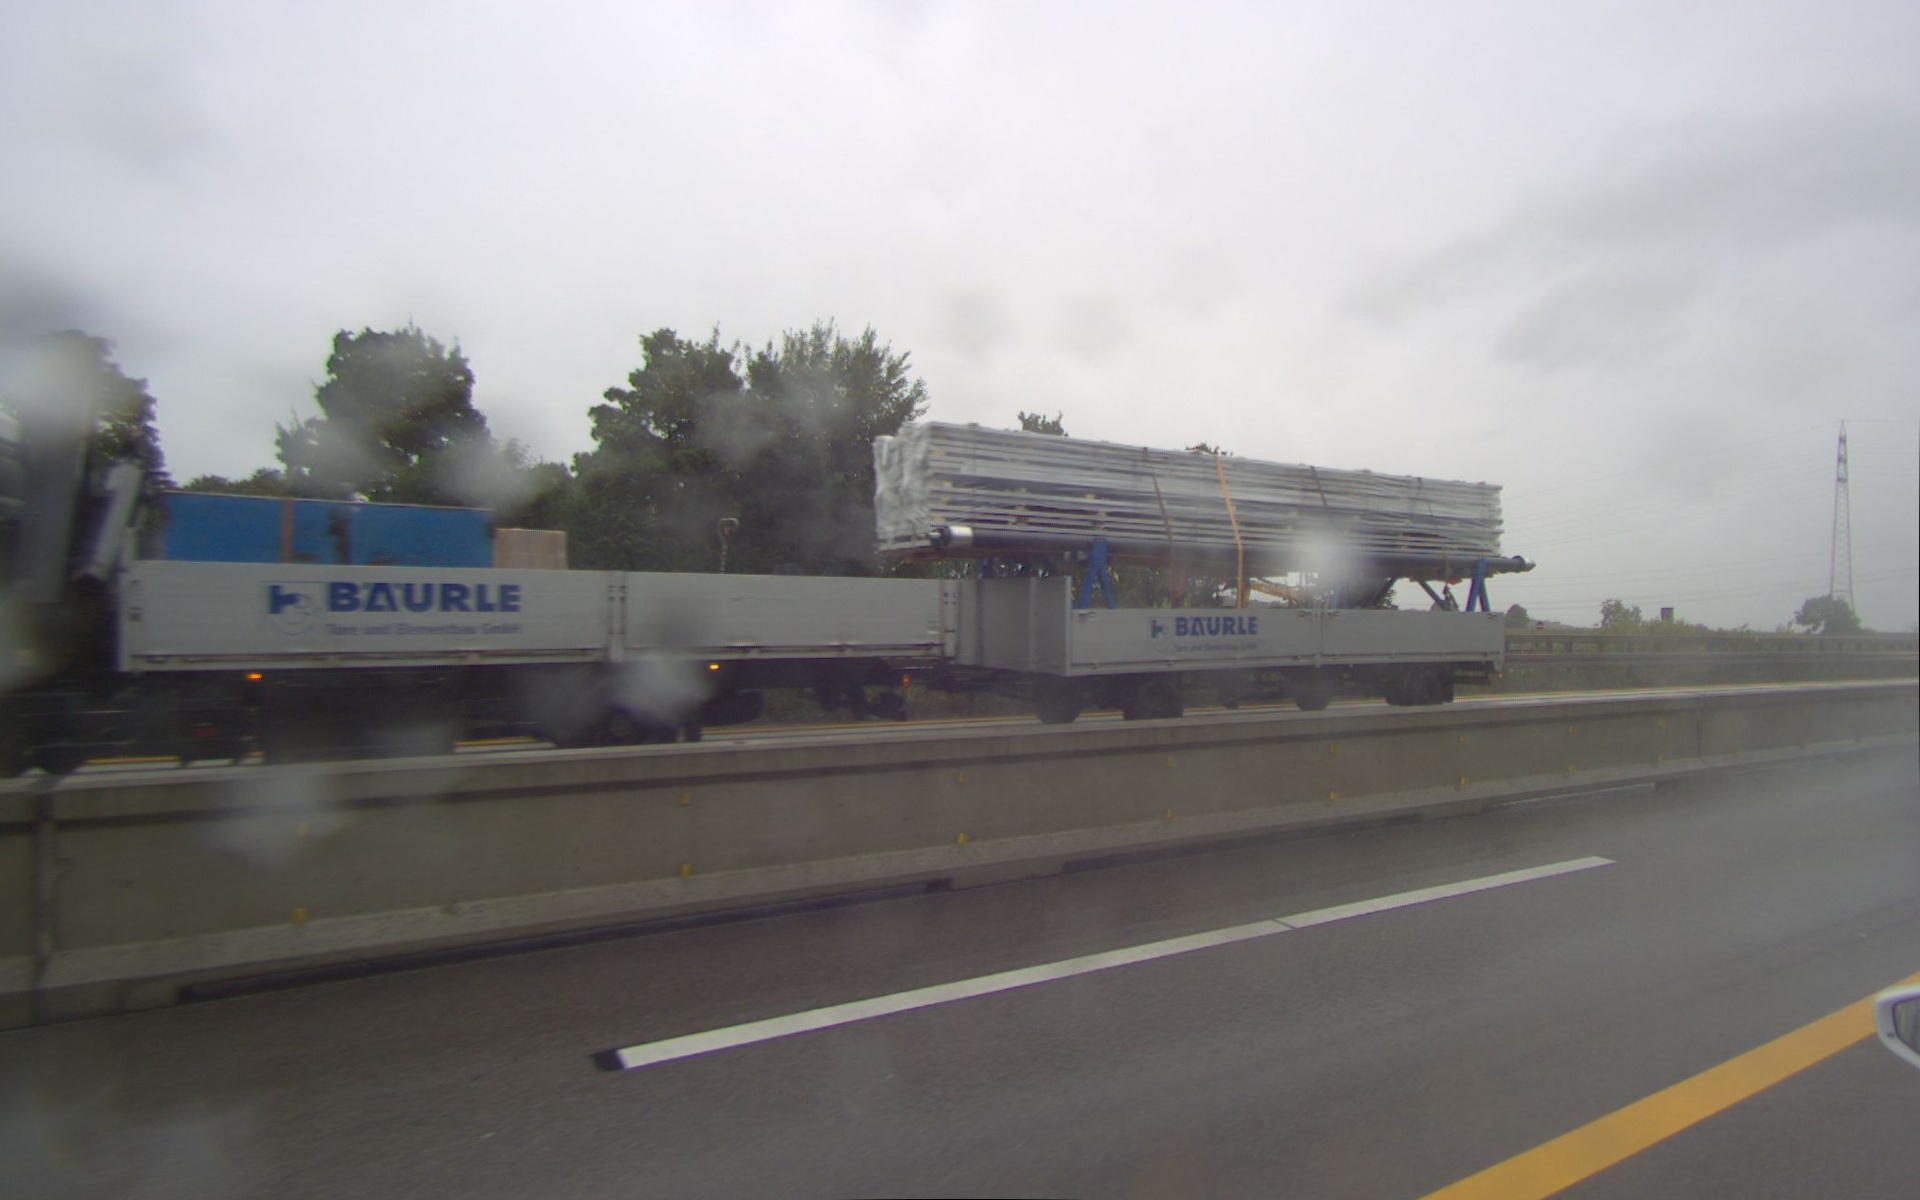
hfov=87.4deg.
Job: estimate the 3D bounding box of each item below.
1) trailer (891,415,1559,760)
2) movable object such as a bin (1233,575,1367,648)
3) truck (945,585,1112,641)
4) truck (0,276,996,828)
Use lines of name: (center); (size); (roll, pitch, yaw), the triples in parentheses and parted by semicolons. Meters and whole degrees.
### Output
trailer: (3.984, -0.040, 13.495); (9.600, 3.407, 2.649); (1, 0, -30)
movable object such as a bin: (20.460, 0.742, 60.219); (8.366, 3.971, 2.716); (3, -1, -31)
truck: (3.665, 0.718, 52.670); (8.794, 2.740, 2.504); (2, 0, -29)
truck: (-4.391, -0.251, 8.573); (9.440, 3.392, 2.627); (1, 0, -30)
